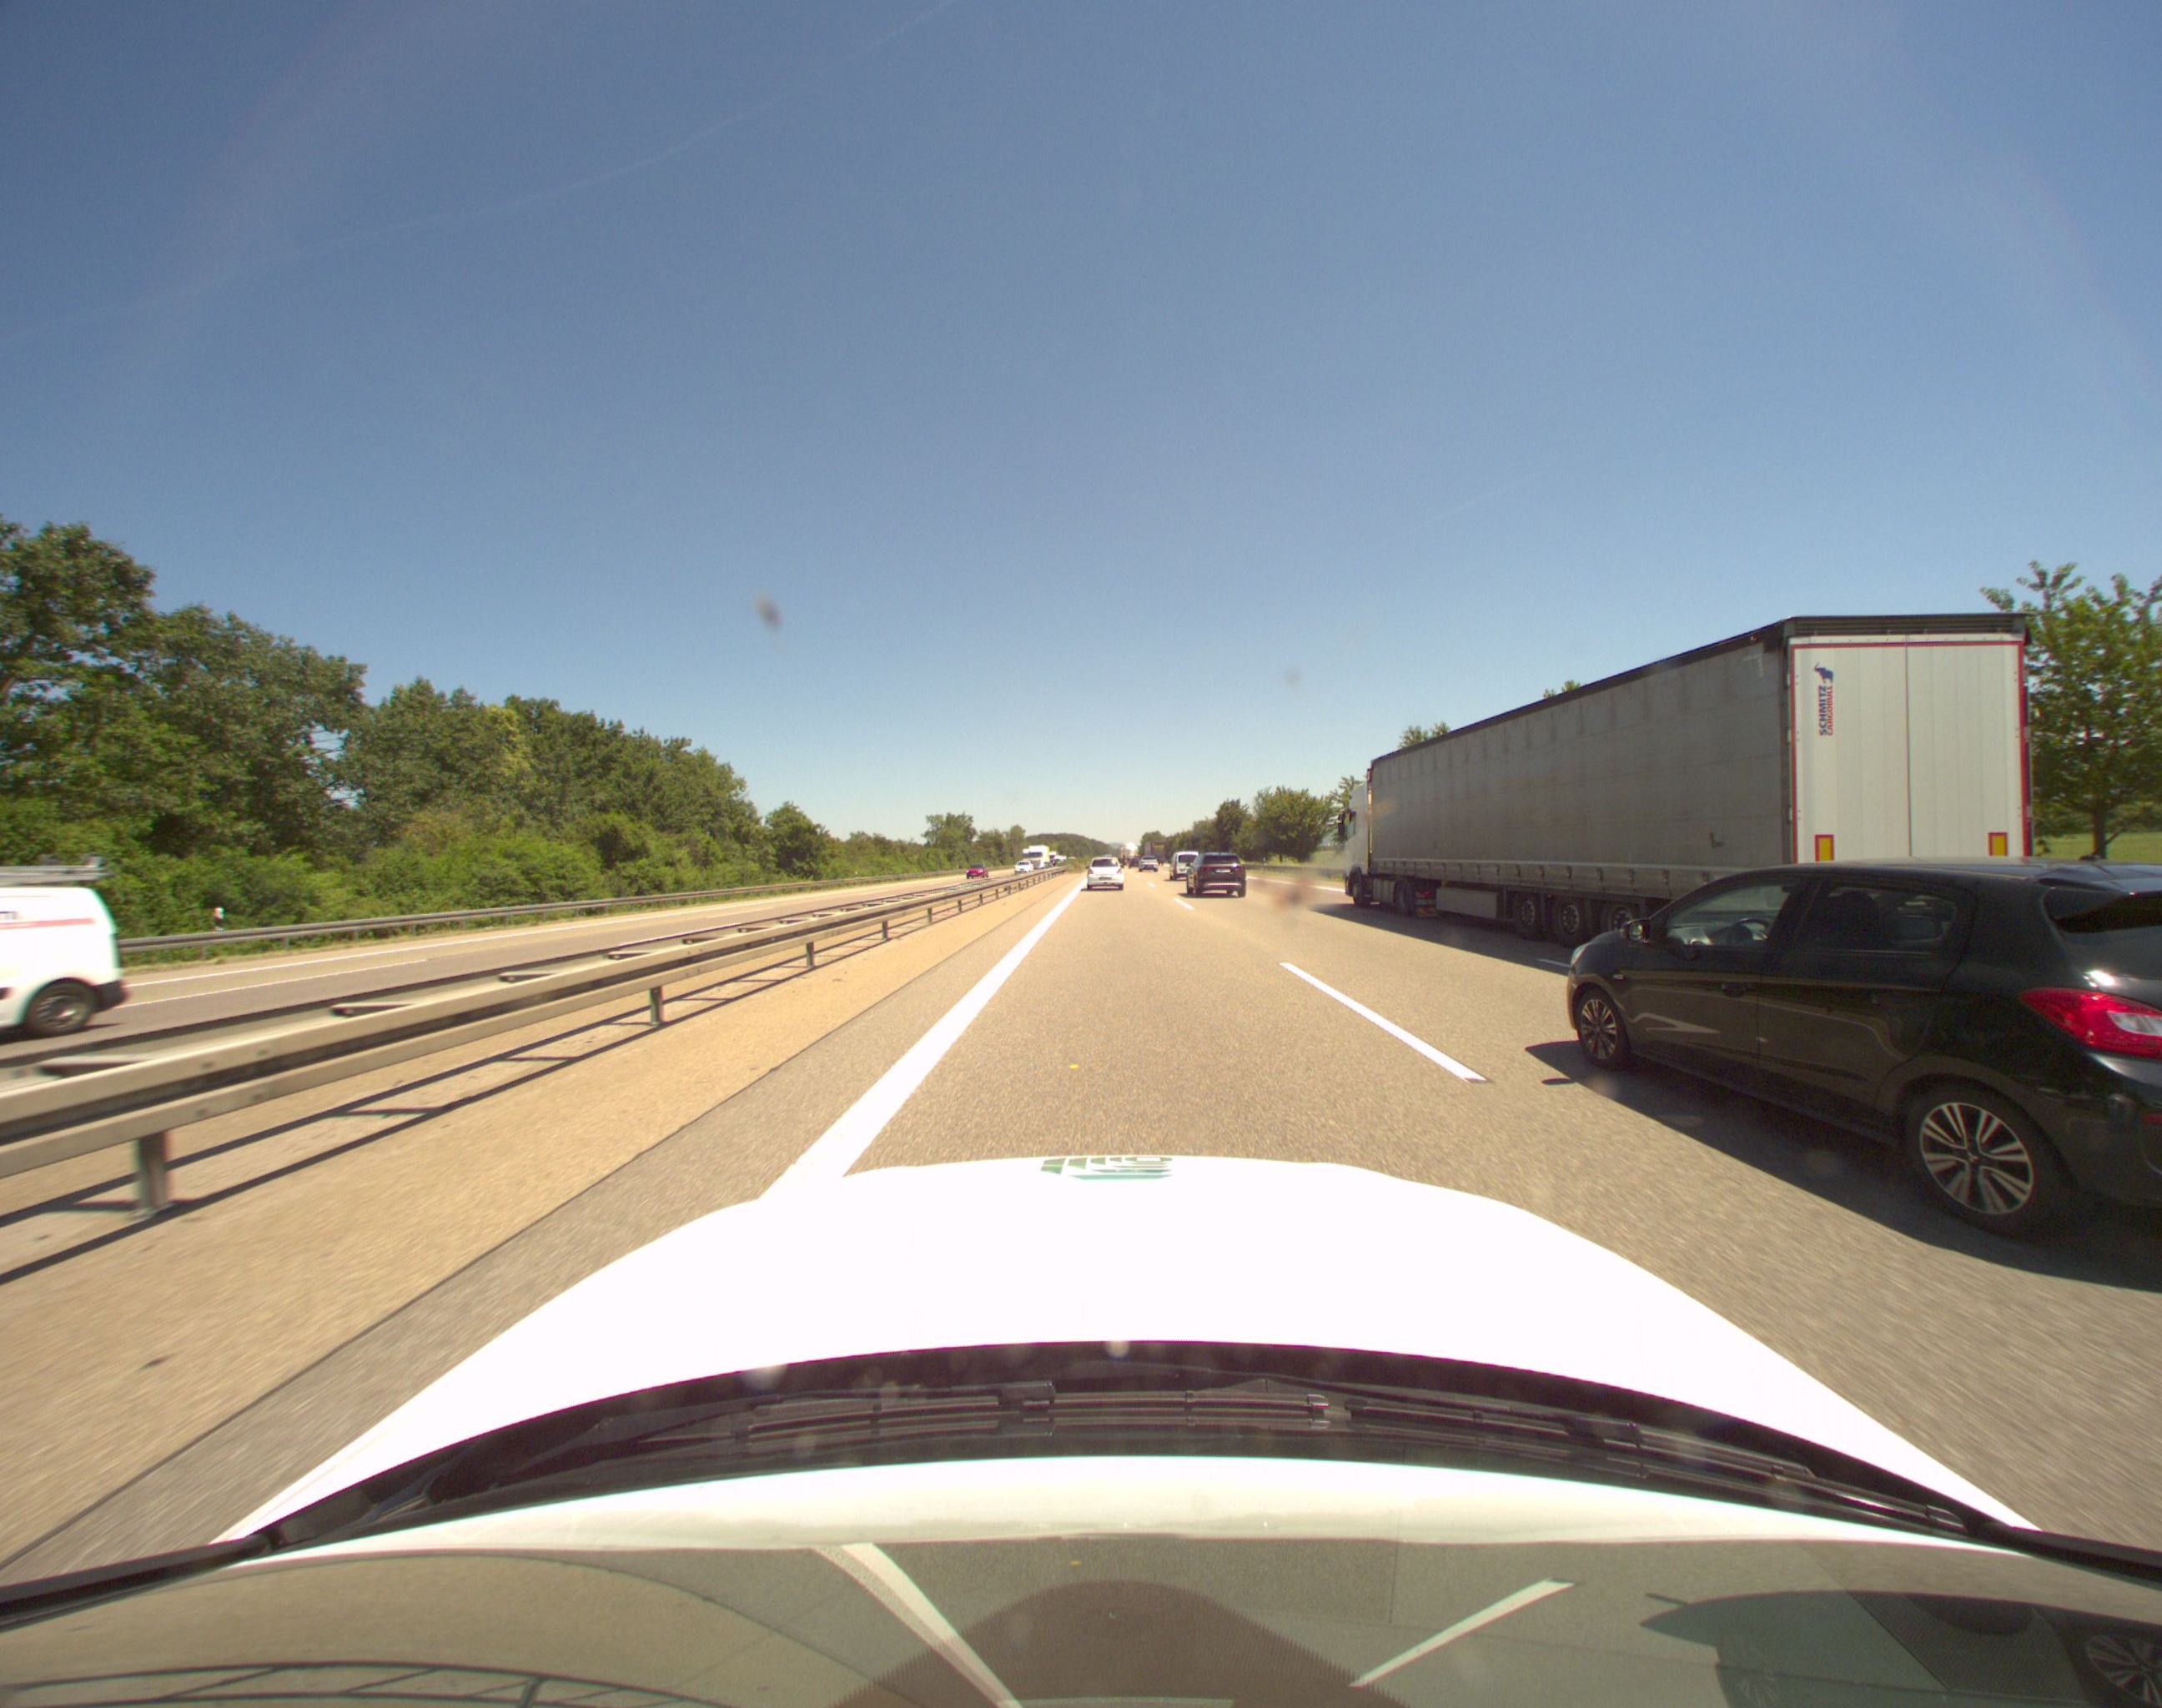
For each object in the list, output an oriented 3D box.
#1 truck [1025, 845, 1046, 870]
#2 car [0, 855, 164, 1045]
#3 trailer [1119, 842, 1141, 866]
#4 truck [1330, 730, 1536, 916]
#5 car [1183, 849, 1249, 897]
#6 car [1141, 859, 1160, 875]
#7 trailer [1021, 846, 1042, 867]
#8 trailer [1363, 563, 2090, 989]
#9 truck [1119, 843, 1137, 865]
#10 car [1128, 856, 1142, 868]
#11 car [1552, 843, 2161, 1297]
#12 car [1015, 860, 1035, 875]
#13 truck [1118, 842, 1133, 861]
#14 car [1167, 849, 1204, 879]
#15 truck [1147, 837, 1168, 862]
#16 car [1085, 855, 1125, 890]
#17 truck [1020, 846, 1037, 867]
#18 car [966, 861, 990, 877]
[{"bbox_3d":[-7.884,0.597,142.122,2.729,4.085,6.222,-3,-1,3],"label":"truck"},{"bbox_3d":[-12.370,1.069,7.895,1.781,2.013,4.382,-4,-1,3],"label":"car"},{"bbox_3d":[8.725,-0.007,146.247,2.903,4.069,12.411,0,0,-1],"label":"trailer"},{"bbox_3d":[9.223,-0.691,22.403,2.799,4.304,7.197,0,-1,2],"label":"truck"},{"bbox_3d":[5.116,0.693,31.423,1.860,1.675,4.747,0,0,1],"label":"car"},{"bbox_3d":[7.112,1.331,83.885,1.795,1.603,4.382,0,0,2],"label":"car"},{"bbox_3d":[-10.497,0.590,174.036,2.746,4.103,14.061,-4,-1,2],"label":"trailer"},{"bbox_3d":[8.991,-0.741,15.380,2.799,4.304,14.259,0,0,2],"label":"trailer"},{"bbox_3d":[8.609,0.039,149.851,2.904,4.079,7.191,0,0,-1],"label":"truck"},{"bbox_3d":[7.314,1.077,111.110,1.843,1.523,3.959,0,0,2],"label":"car"},{"bbox_3d":[4.348,0.710,4.373,1.682,1.473,3.433,0,0,1],"label":"car"},{"bbox_3d":[-5.848,1.416,85.214,1.713,1.422,3.898,-4,-1,1],"label":"car"},{"bbox_3d":[10.440,-0.486,190.097,3.380,4.214,12.092,0,0,3],"label":"truck"},{"bbox_3d":[6.674,0.635,52.611,1.846,1.863,4.702,0,0,1],"label":"car"},{"bbox_3d":[13.344,-0.634,143.692,3.096,4.139,15.522,0,0,3],"label":"truck"},{"bbox_3d":[1.139,0.859,38.467,1.792,1.552,3.611,0,0,1],"label":"car"},{"bbox_3d":[-10.765,0.550,167.467,2.746,4.103,6.155,-4,-1,2],"label":"truck"},{"bbox_3d":[-10.197,1.477,80.727,1.766,1.417,4.111,-4,0,1],"label":"car"}]
